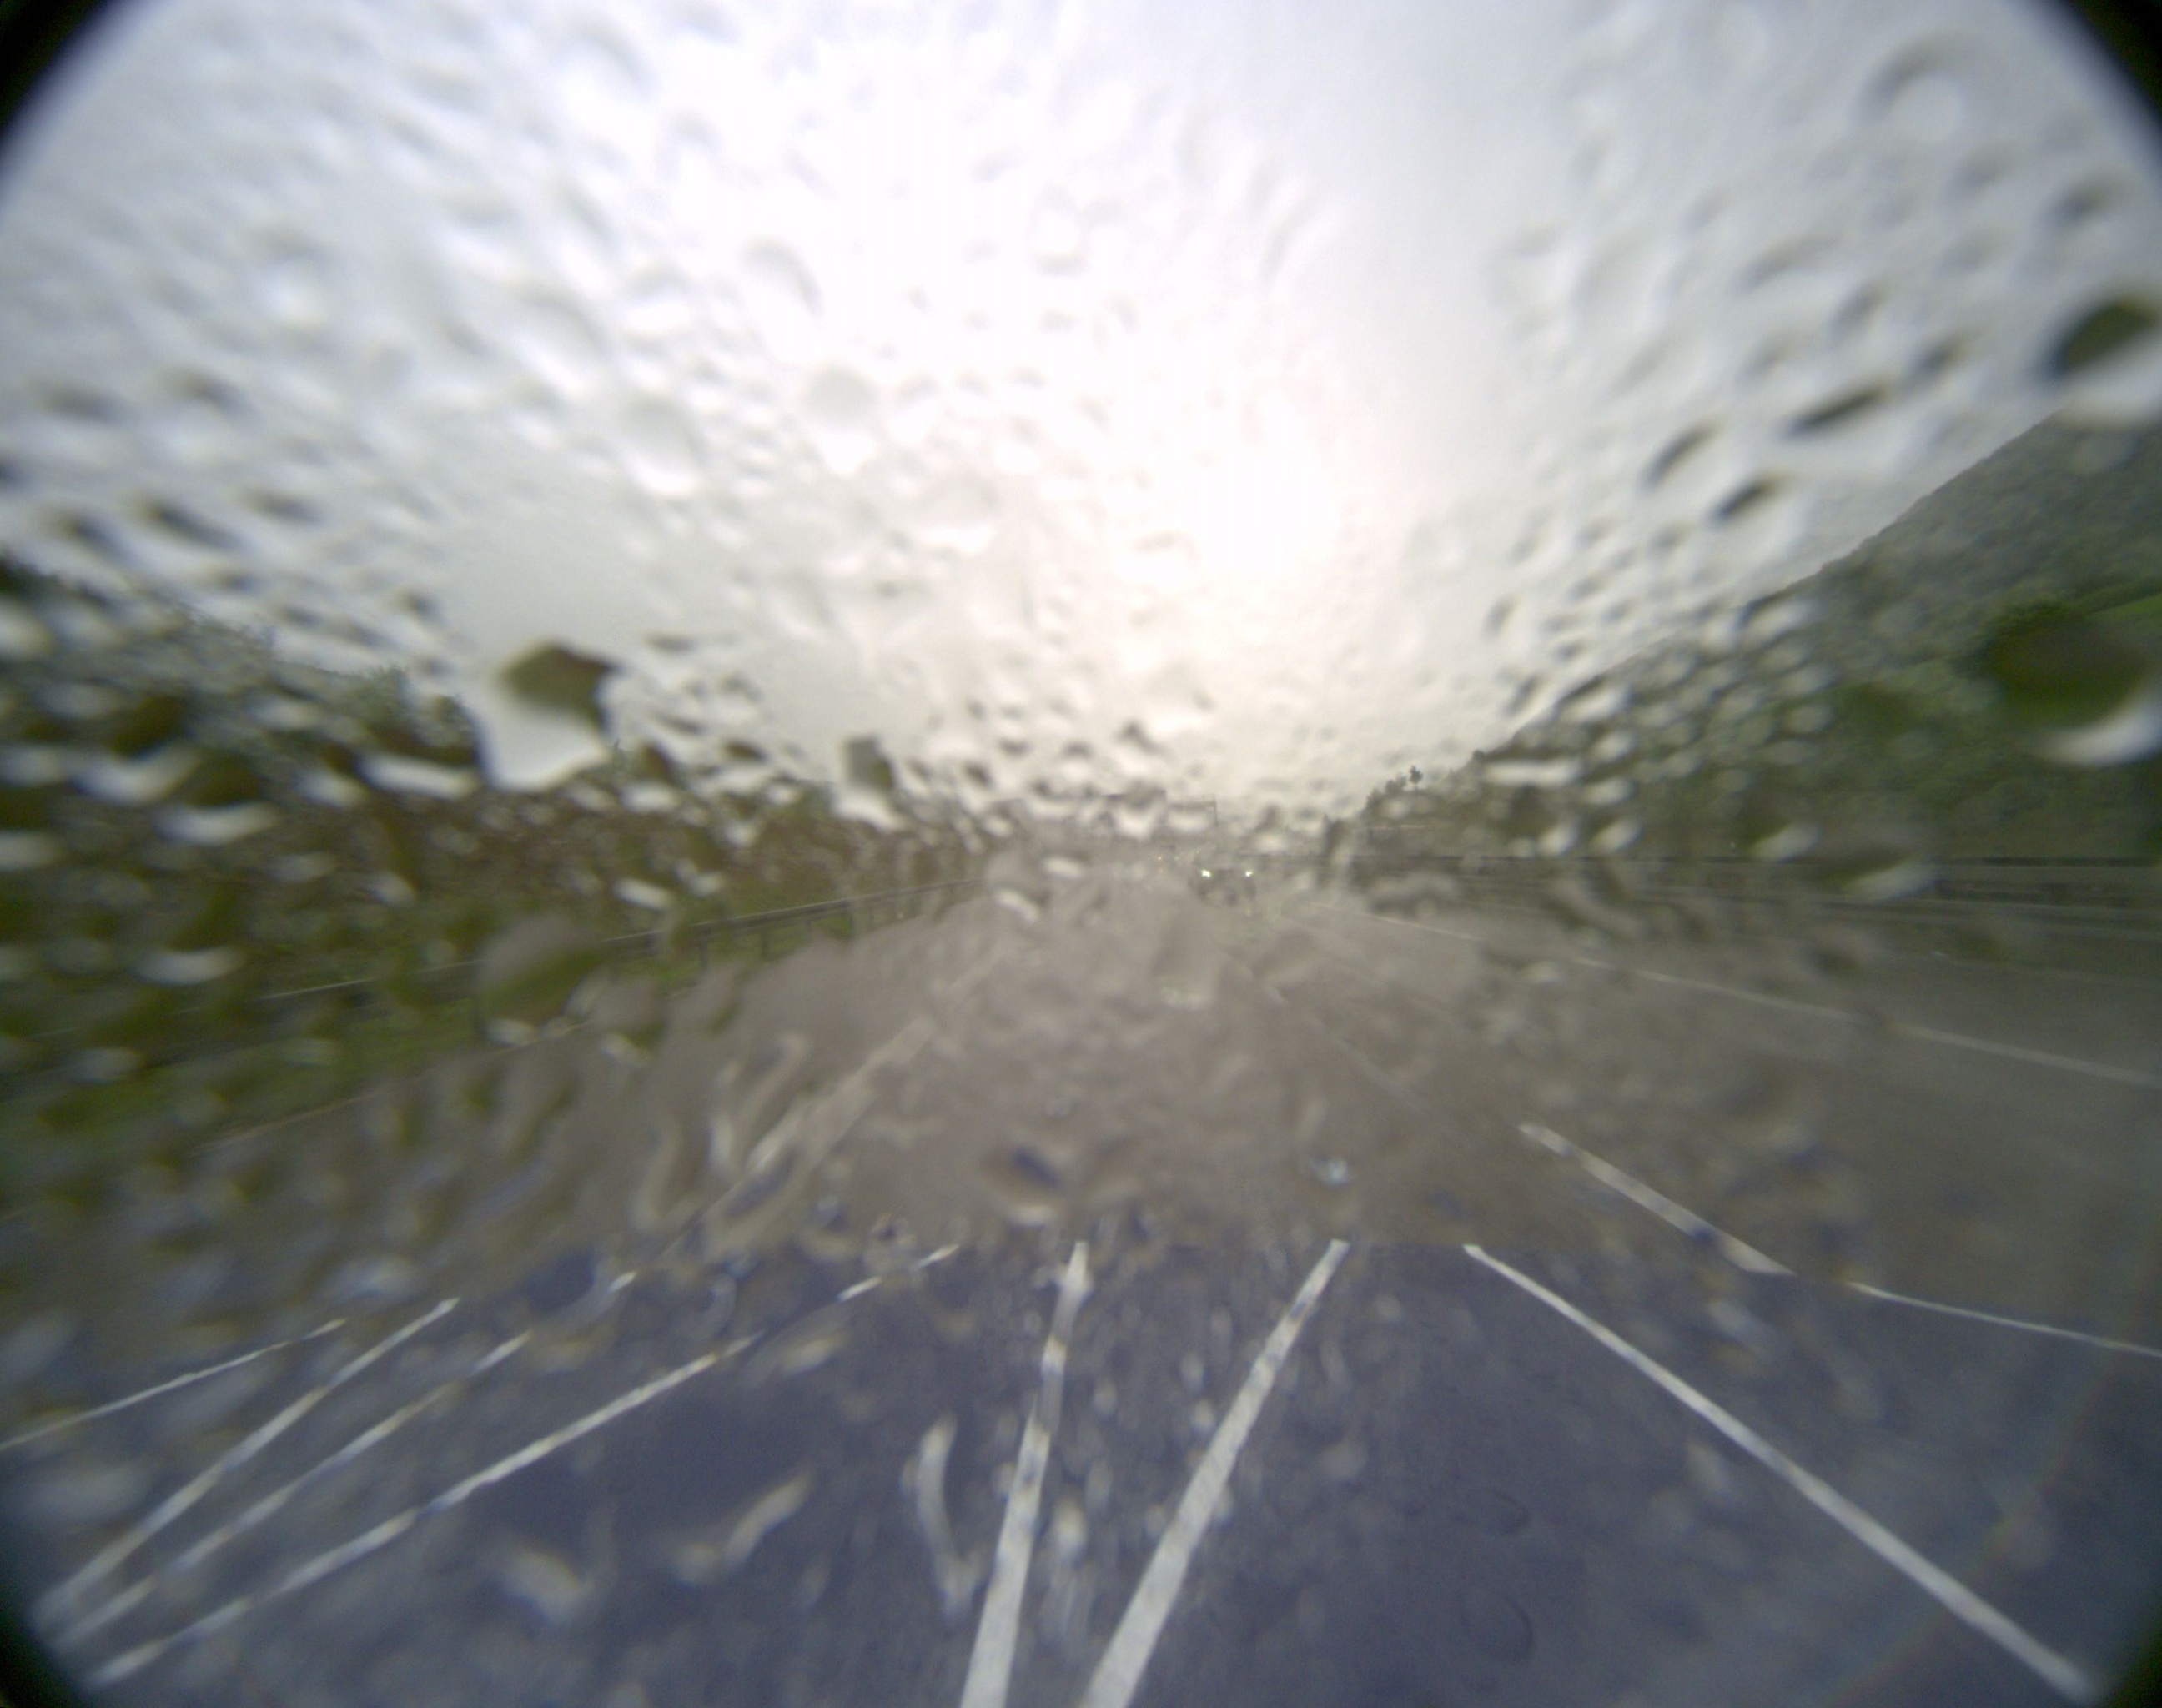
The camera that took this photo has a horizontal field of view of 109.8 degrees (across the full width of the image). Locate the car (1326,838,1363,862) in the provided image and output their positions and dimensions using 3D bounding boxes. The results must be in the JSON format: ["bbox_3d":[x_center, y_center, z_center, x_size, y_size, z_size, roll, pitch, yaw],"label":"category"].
[{"bbox_3d":[22.815,-0.335,65.933,1.918,2.002,4.000,-2,0,2],"label":"car"}]

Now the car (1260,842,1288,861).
[{"bbox_3d":[19.218,-0.235,75.839,1.863,1.835,4.000,-1,0,3],"label":"car"}]

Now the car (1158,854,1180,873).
[{"bbox_3d":[9.658,1.001,83.427,1.987,2.002,3.934,-2,0,1],"label":"car"}]

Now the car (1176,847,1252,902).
[{"bbox_3d":[4.654,0.666,27.045,1.815,1.692,3.747,-3,1,-2],"label":"car"}]

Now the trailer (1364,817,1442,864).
[{"bbox_3d":[26.200,-1.070,62.399,2.726,3.471,9.396,-2,0,3],"label":"trailer"}]

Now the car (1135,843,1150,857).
[{"bbox_3d":[9.580,-0.590,118.517,1.998,2.002,4.000,-2,0,1],"label":"car"}]

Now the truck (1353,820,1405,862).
[{"bbox_3d":[26.493,-1.142,67.768,2.722,3.522,5.311,-2,0,3],"label":"truck"}]

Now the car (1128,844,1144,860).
[{"bbox_3d":[7.228,-0.300,100.202,1.835,2.002,3.939,-4,1,4],"label":"car"}]
